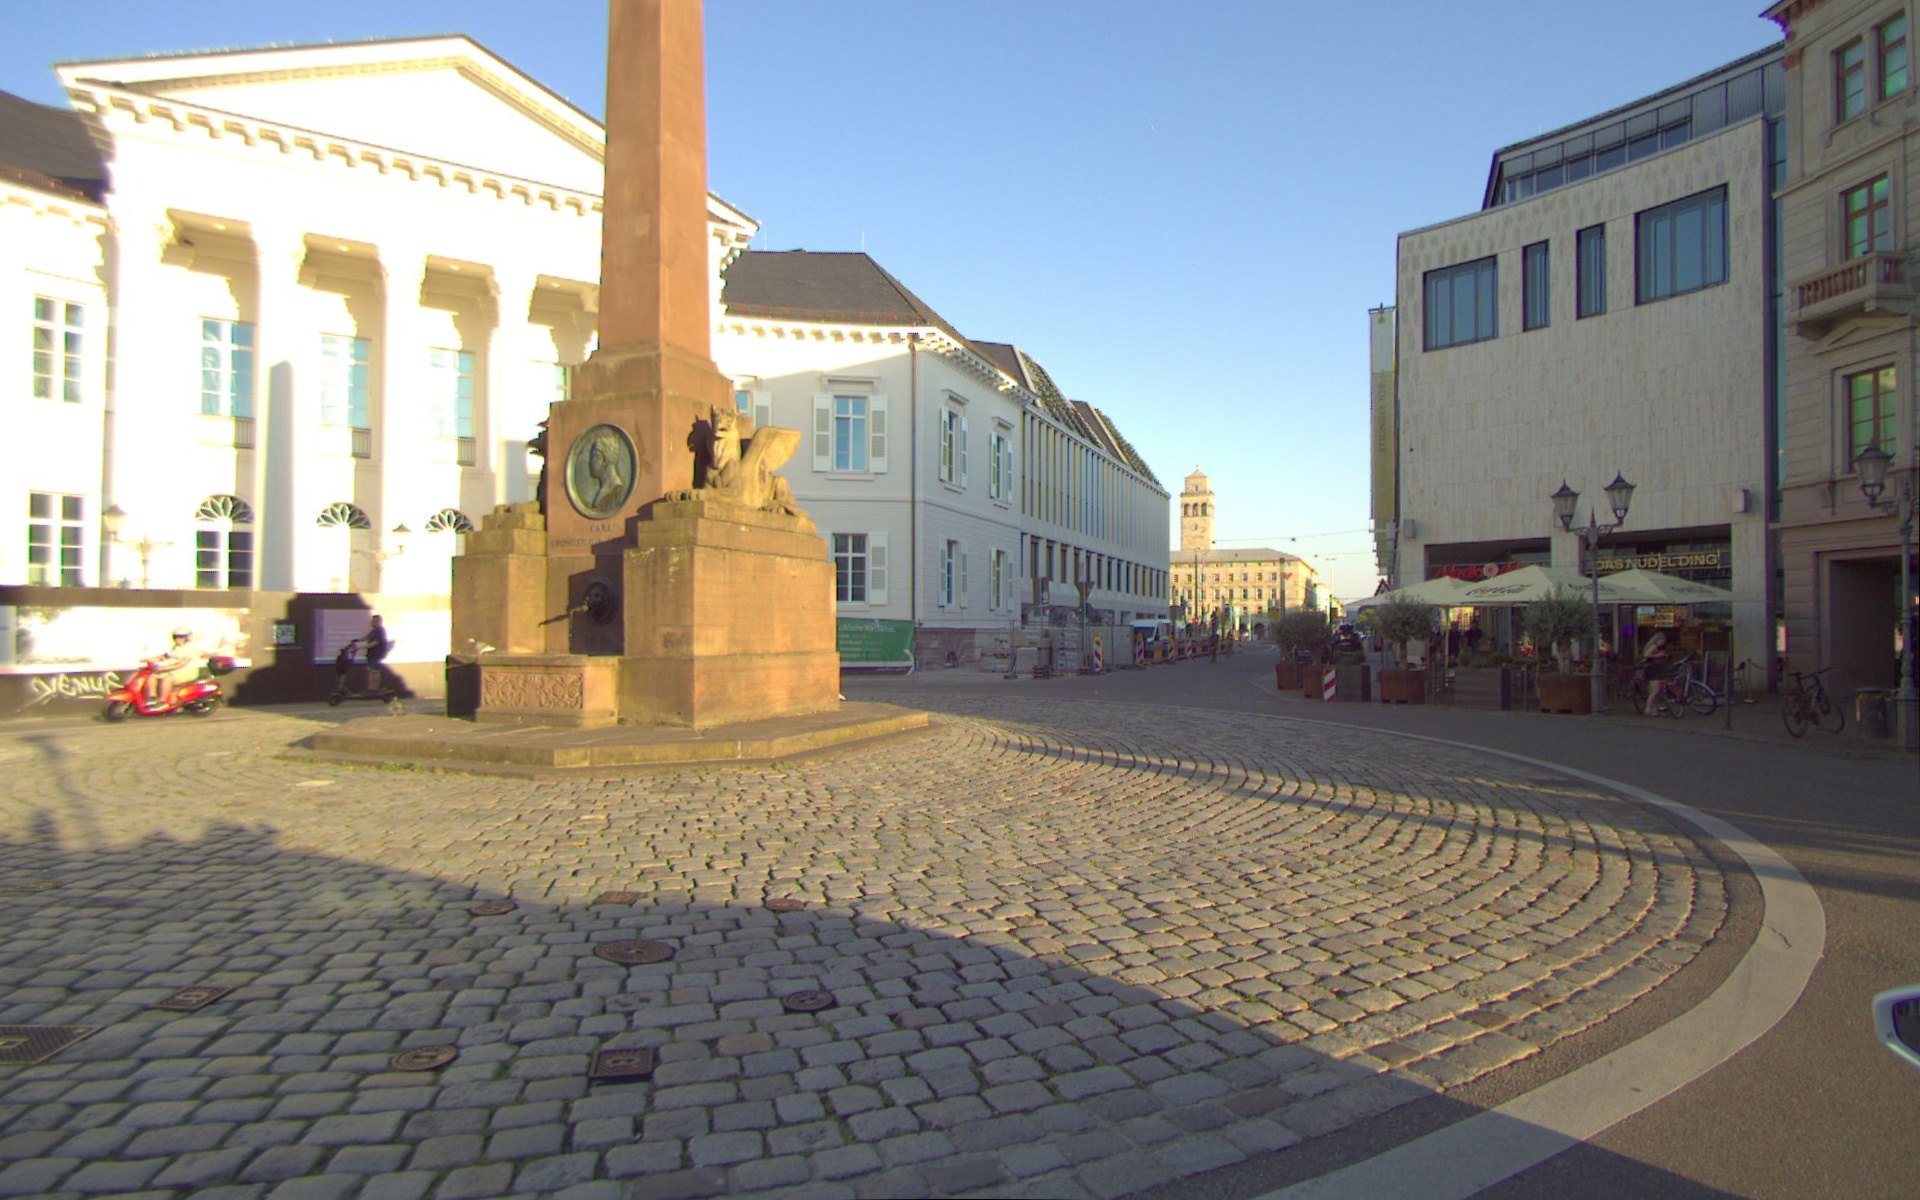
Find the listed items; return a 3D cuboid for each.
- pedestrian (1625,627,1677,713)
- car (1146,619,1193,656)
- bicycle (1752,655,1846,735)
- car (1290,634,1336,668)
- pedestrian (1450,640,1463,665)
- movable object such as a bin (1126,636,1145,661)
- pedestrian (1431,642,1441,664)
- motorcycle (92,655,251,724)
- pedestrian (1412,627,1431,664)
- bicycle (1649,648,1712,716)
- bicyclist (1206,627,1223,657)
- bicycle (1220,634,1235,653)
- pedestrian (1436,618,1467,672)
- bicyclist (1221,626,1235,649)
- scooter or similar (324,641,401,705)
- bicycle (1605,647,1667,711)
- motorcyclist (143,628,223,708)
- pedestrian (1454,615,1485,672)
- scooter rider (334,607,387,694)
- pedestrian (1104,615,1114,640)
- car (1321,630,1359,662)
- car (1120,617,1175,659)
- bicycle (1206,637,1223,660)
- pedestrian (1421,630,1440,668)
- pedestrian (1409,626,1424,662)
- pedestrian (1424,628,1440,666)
[{"bbox_3d":[13.236,1.316,19.247,0.739,1.609,0.711,-1,-2,41],"label":"pedestrian"},{"bbox_3d":[14.620,2.595,69.906,2.138,2.503,5.997,0,-2,22],"label":"car"},{"bbox_3d":[13.647,1.515,16.327,1.884,1.143,0.602,-1,0,-32],"label":"bicycle"},{"bbox_3d":[17.335,2.467,49.221,1.767,1.509,4.191,-4,-3,24],"label":"car"},{"bbox_3d":[22.767,2.396,46.024,0.479,1.112,0.601,-1,0,22],"label":"pedestrian"},{"bbox_3d":[10.336,2.850,59.151,1.025,1.485,1.395,0,-2,11],"label":"movable object such as a bin"},{"bbox_3d":[22.140,2.471,46.726,0.413,0.999,0.526,-1,0,22],"label":"pedestrian"},{"bbox_3d":[-13.729,1.528,17.558,0.790,1.059,2.030,-1,-2,28],"label":"motorcycle"},{"bbox_3d":[21.651,2.118,47.113,0.752,1.704,0.876,-1,0,22],"label":"pedestrian"},{"bbox_3d":[13.769,1.539,19.181,1.892,1.143,0.600,-1,0,-43],"label":"bicycle"},{"bbox_3d":[13.995,2.316,55.219,0.783,1.624,1.231,0,-2,18],"label":"bicyclist"},{"bbox_3d":[17.972,2.901,67.395,0.783,1.233,2.233,0,-2,20],"label":"bicycle"},{"bbox_3d":[16.549,1.510,33.822,0.663,1.768,0.711,1,-2,-35],"label":"pedestrian"},{"bbox_3d":[18.000,2.498,67.425,0.783,1.552,0.974,0,-2,20],"label":"bicyclist"},{"bbox_3d":[-12.480,1.504,21.009,1.344,1.288,0.682,1,-2,-32],"label":"scooter or similar"},{"bbox_3d":[13.635,1.559,20.252,1.892,1.143,0.600,-1,0,-43],"label":"bicycle"},{"bbox_3d":[-13.665,1.170,17.678,0.790,1.361,0.859,-1,-2,28],"label":"motorcyclist"},{"bbox_3d":[17.285,1.461,34.066,0.662,1.886,0.711,1,-2,-34],"label":"pedestrian"},{"bbox_3d":[-12.526,1.042,20.994,0.898,1.786,0.680,1,-1,-32],"label":"scooter rider"},{"bbox_3d":[9.736,1.789,65.457,0.533,1.598,0.579,-1,-2,21],"label":"pedestrian"},{"bbox_3d":[21.430,2.568,56.587,1.740,1.659,4.056,-4,-3,23],"label":"car"},{"bbox_3d":[11.816,2.360,63.004,2.139,2.503,5.997,0,-2,23],"label":"car"},{"bbox_3d":[13.991,2.640,55.205,0.783,1.233,2.234,0,-2,18],"label":"bicycle"},{"bbox_3d":[21.422,2.228,45.741,0.752,1.704,0.876,-1,0,22],"label":"pedestrian"},{"bbox_3d":[21.895,2.097,48.204,0.581,1.721,0.696,-1,-1,21],"label":"pedestrian"},{"bbox_3d":[22.821,2.270,48.576,0.623,1.798,0.775,-1,0,22],"label":"pedestrian"}]
